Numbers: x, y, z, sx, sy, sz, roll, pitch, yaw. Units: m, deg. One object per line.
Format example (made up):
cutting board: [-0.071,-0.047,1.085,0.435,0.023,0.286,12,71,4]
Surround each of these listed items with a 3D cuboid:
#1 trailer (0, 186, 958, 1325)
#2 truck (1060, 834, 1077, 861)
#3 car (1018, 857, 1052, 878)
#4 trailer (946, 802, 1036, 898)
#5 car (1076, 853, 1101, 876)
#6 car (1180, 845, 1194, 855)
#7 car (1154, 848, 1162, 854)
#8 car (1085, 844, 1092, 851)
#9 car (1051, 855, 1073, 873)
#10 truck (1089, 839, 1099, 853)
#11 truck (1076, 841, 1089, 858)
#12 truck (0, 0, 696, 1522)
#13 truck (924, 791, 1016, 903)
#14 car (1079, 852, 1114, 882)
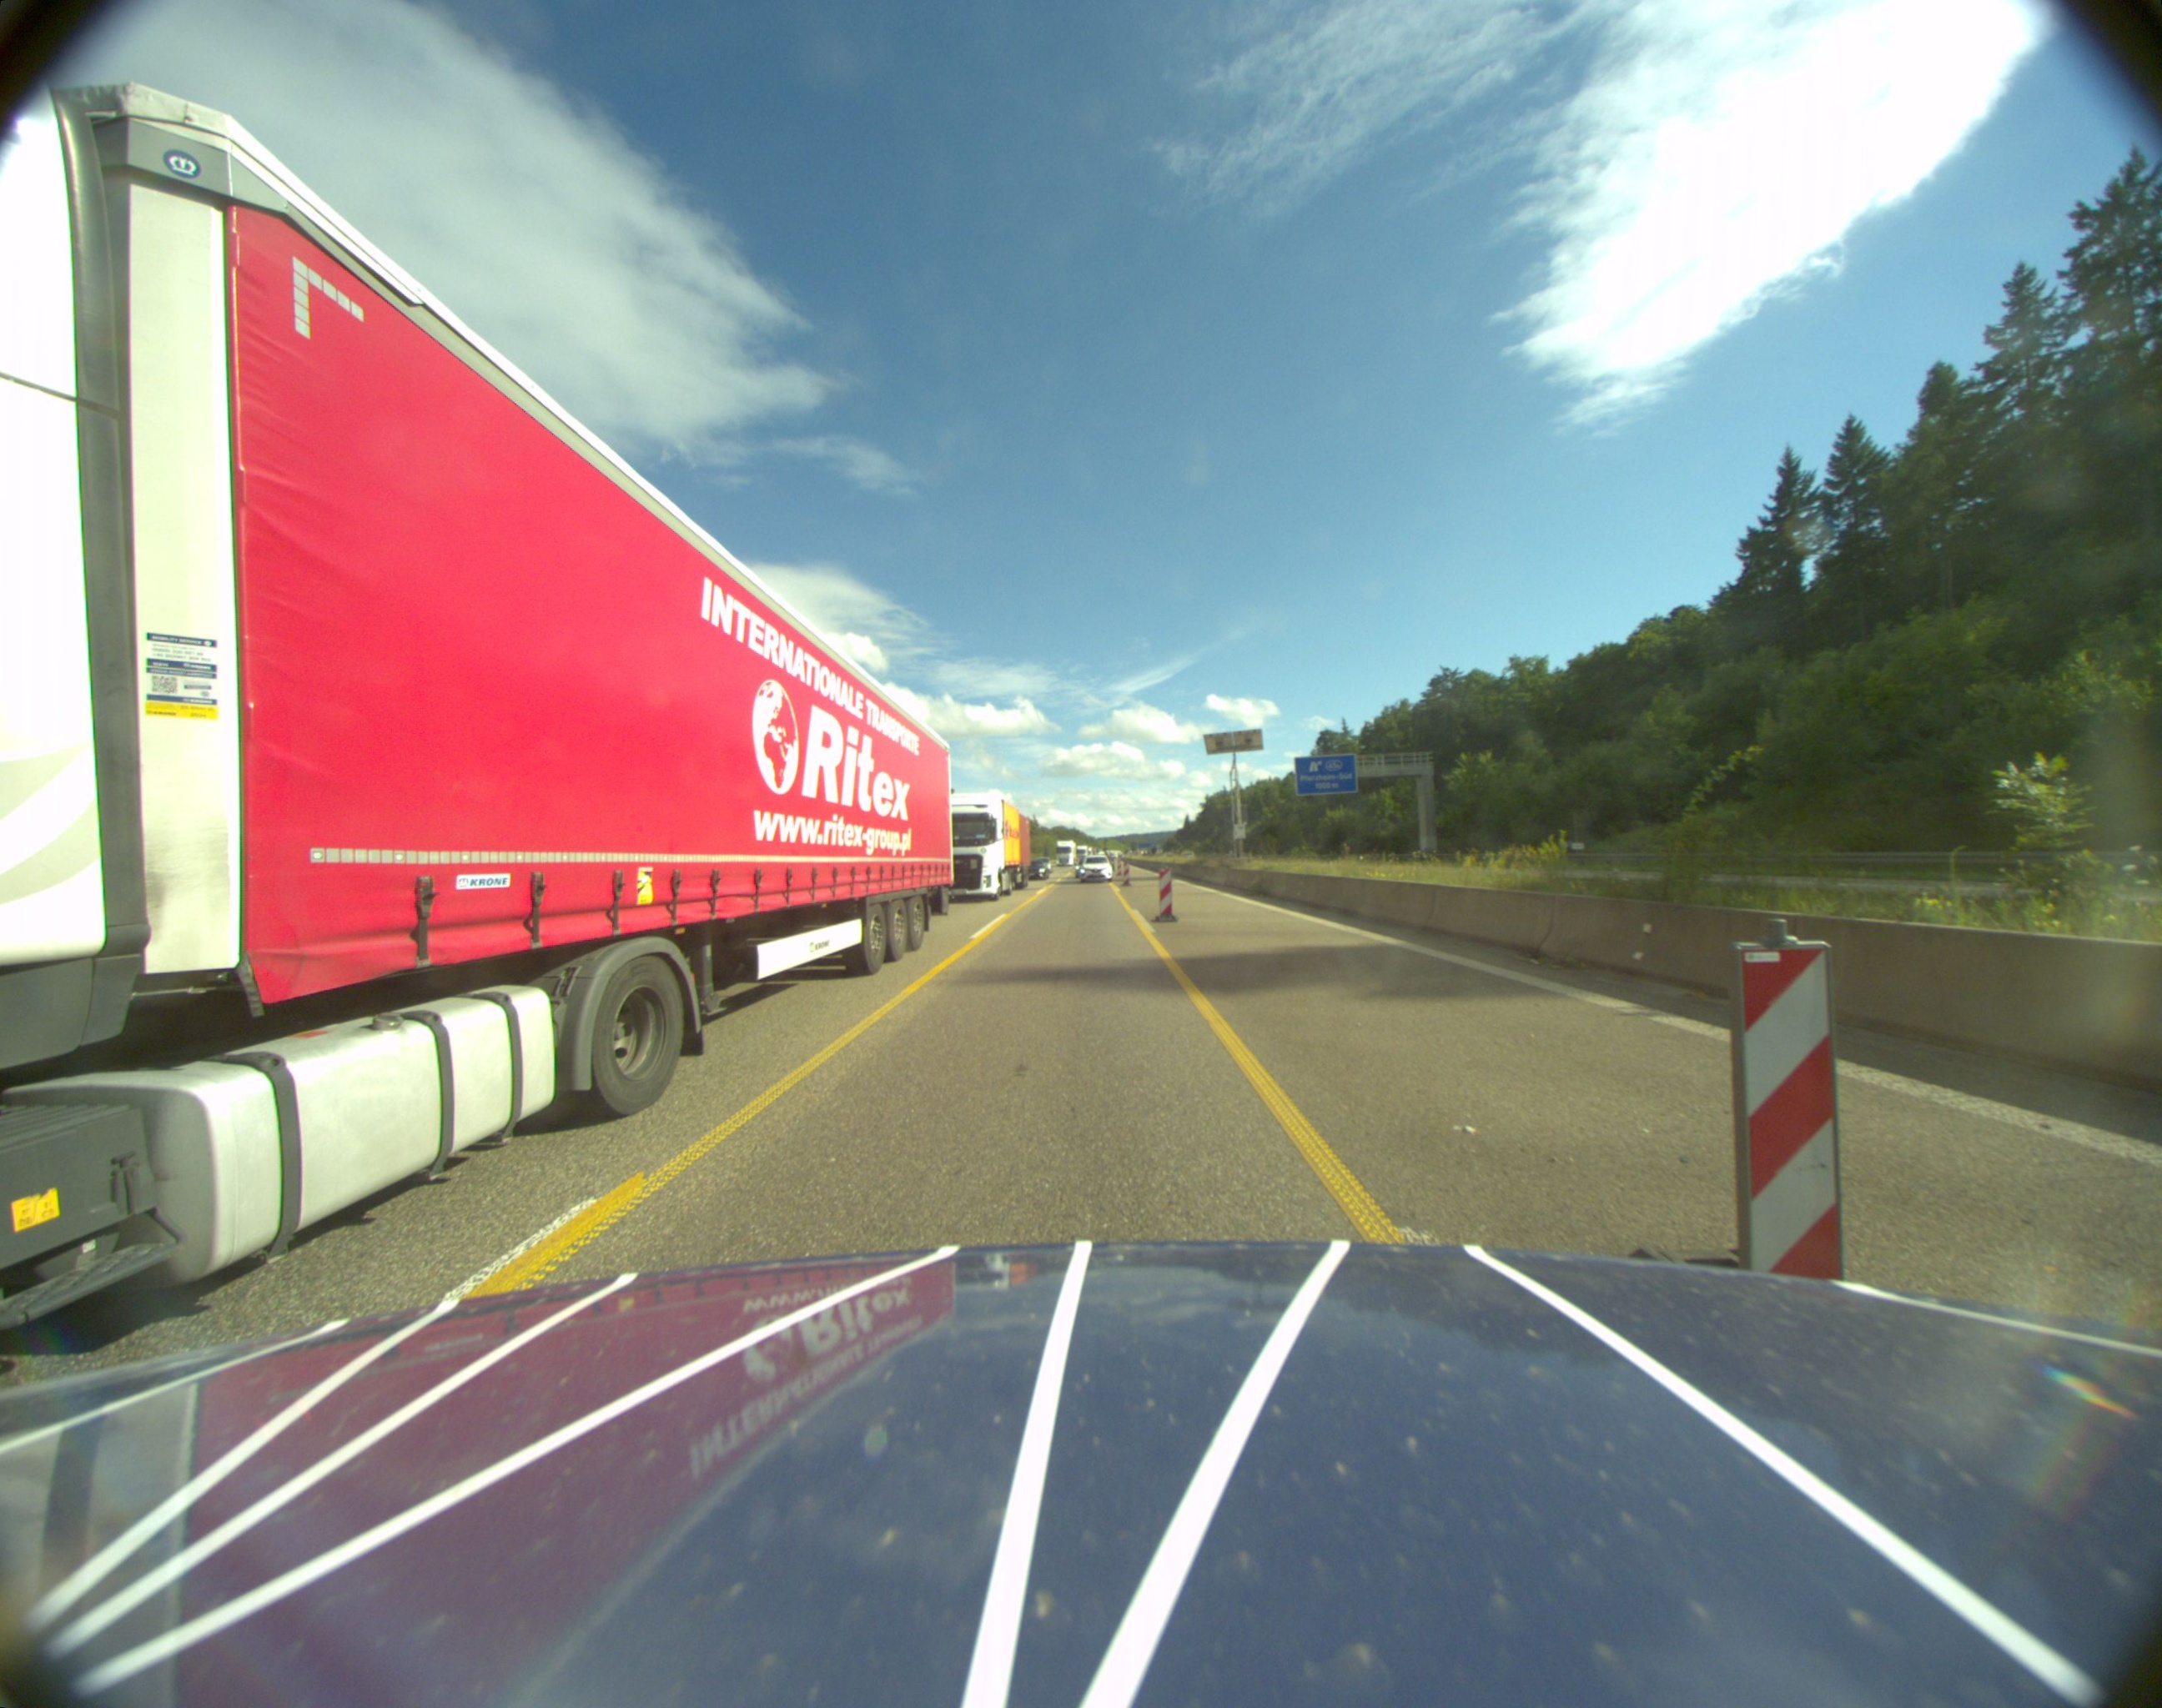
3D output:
trailer: [-4.047,-0.324,9.368,2.707,3.946,13.416,-2,0,0]
truck: [-2.026,-1.060,123.735,2.641,4.092,8.194,-2,0,-1]
car: [-3.116,0.900,52.428,1.933,1.342,4.477,-2,0,1]
trailer: [-3.952,-0.191,36.352,2.477,3.753,12.135,-2,0,1]
car: [0.554,0.725,54.604,1.692,1.471,3.754,-1,1,1]
car: [17.707,-0.716,126.928,1.665,1.572,3.911,-2,1,0]
car: [22.582,-0.916,223.711,1.944,1.455,3.911,-2,1,0]
car: [2.113,-2.002,228.030,1.998,2.188,3.999,-2,1,1]
car: [-1.650,0.856,67.359,1.762,1.471,3.967,-1,1,1]
truck: [3.834,-2.304,228.008,2.641,4.092,8.194,-3,0,-1]
truck: [0.500,-1.138,189.846,2.640,4.092,8.196,-2,0,3]
truck: [-4.052,-0.287,2.326,2.675,3.936,5.710,-2,0,0]
truck: [-4.089,-0.262,29.129,2.501,3.759,5.789,-2,1,1]
car: [0.851,0.731,44.003,1.840,1.528,3.882,-2,1,-1]
